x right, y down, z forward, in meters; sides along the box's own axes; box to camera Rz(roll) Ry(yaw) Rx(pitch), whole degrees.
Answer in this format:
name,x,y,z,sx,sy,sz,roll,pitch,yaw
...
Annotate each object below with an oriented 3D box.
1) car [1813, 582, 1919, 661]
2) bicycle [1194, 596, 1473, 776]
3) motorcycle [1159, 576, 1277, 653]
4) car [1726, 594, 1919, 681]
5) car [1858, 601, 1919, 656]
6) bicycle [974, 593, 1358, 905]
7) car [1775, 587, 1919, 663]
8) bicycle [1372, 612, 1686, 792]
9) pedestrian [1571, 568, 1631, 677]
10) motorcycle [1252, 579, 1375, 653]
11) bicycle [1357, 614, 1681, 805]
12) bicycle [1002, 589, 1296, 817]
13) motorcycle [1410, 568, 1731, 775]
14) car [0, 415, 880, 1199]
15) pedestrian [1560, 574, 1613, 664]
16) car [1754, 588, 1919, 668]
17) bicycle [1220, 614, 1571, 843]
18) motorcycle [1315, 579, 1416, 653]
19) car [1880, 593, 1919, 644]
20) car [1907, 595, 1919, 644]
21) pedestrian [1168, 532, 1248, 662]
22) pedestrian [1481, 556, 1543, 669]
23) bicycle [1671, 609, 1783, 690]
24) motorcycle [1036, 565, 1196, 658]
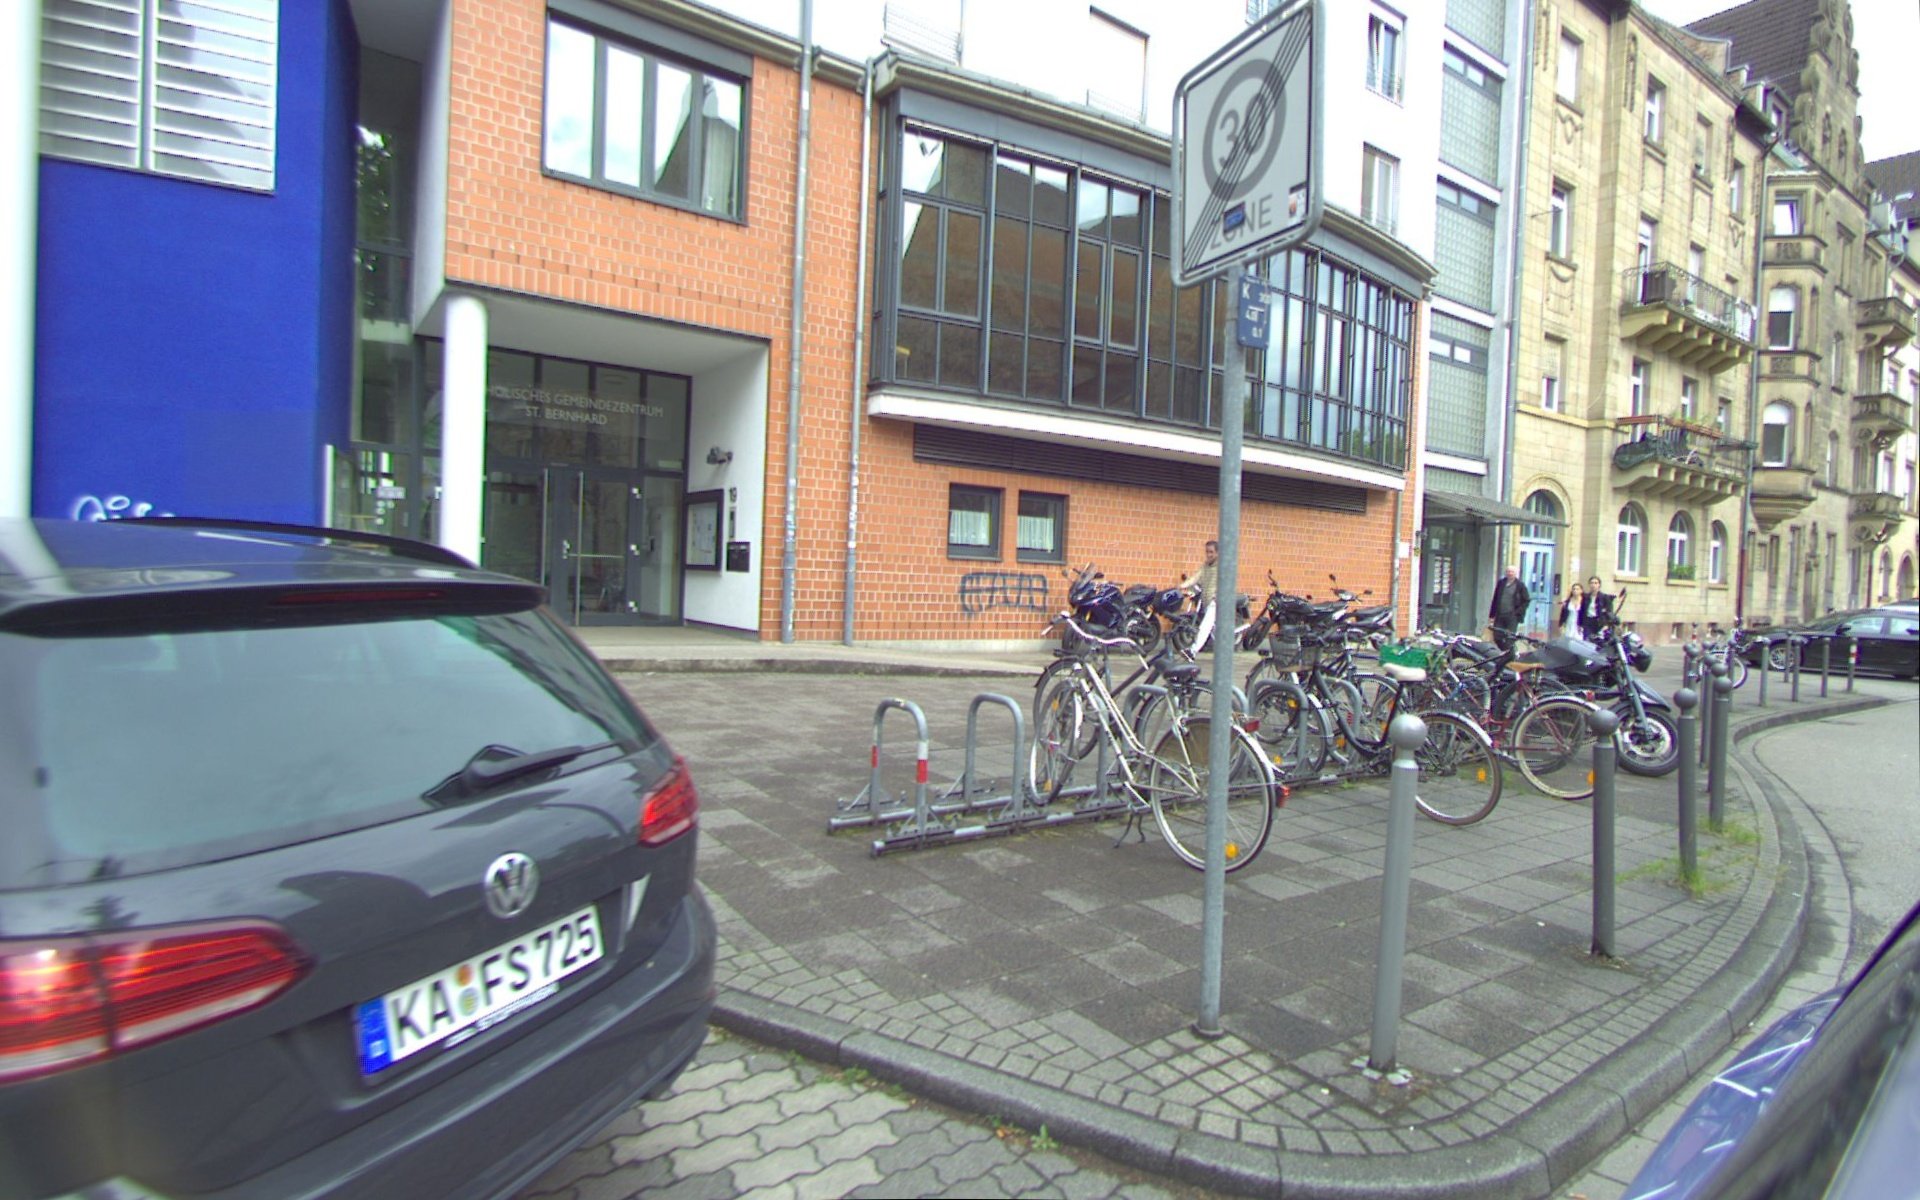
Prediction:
name,x,y,z,sx,sy,sz,roll,pitch,yaw
car,26.088,0.667,27.222,4.221,1.929,1.872,5,3,14
bicycle,2.761,0.570,7.705,0.601,1.090,1.935,0,4,-38
motorcycle,4.138,0.225,16.146,2.031,1.157,0.603,1,2,-36
car,19.503,0.833,21.930,4.214,1.496,1.672,6,3,22
car,30.679,0.974,30.882,4.404,1.571,1.843,4,2,17
bicycle,0.909,0.599,5.006,0.601,1.154,1.889,0,4,-38
car,23.486,0.676,25.586,3.945,1.620,1.758,6,3,15
bicycle,4.324,0.707,7.861,0.601,1.075,2.015,0,4,-38
pedestrian,10.231,0.339,16.159,0.704,1.682,0.520,0,4,-39
motorcycle,5.994,0.265,17.191,1.843,1.157,0.604,2,2,-10
bicycle,3.937,0.700,7.304,0.601,1.056,1.935,0,4,-38
bicycle,1.120,0.554,6.452,0.601,1.154,1.889,0,4,-38
motorcycle,5.044,0.499,8.529,0.757,1.447,2.140,0,3,-38
car,-2.529,0.455,2.455,4.239,1.597,1.850,5,3,22
pedestrian,11.136,0.320,17.995,0.704,1.528,0.520,0,4,-39
car,21.557,0.686,23.897,3.962,1.552,1.915,6,3,26
bicycle,2.569,0.684,6.204,0.601,1.056,1.889,0,4,-38
motorcycle,7.319,0.277,18.303,1.534,1.208,0.604,4,2,-13
car,33.003,0.782,32.700,4.405,1.593,1.739,5,3,16
car,35.754,0.876,34.406,4.692,1.705,1.926,4,4,19
pedestrian,3.534,-0.053,14.428,0.797,1.774,0.632,1,4,-39
pedestrian,9.133,0.187,16.747,0.531,1.792,0.645,0,4,-37
bicycle,12.391,0.761,16.415,0.719,1.117,1.730,3,3,13
motorcycle,2.287,0.159,14.747,2.167,1.217,1.032,1,2,-36
